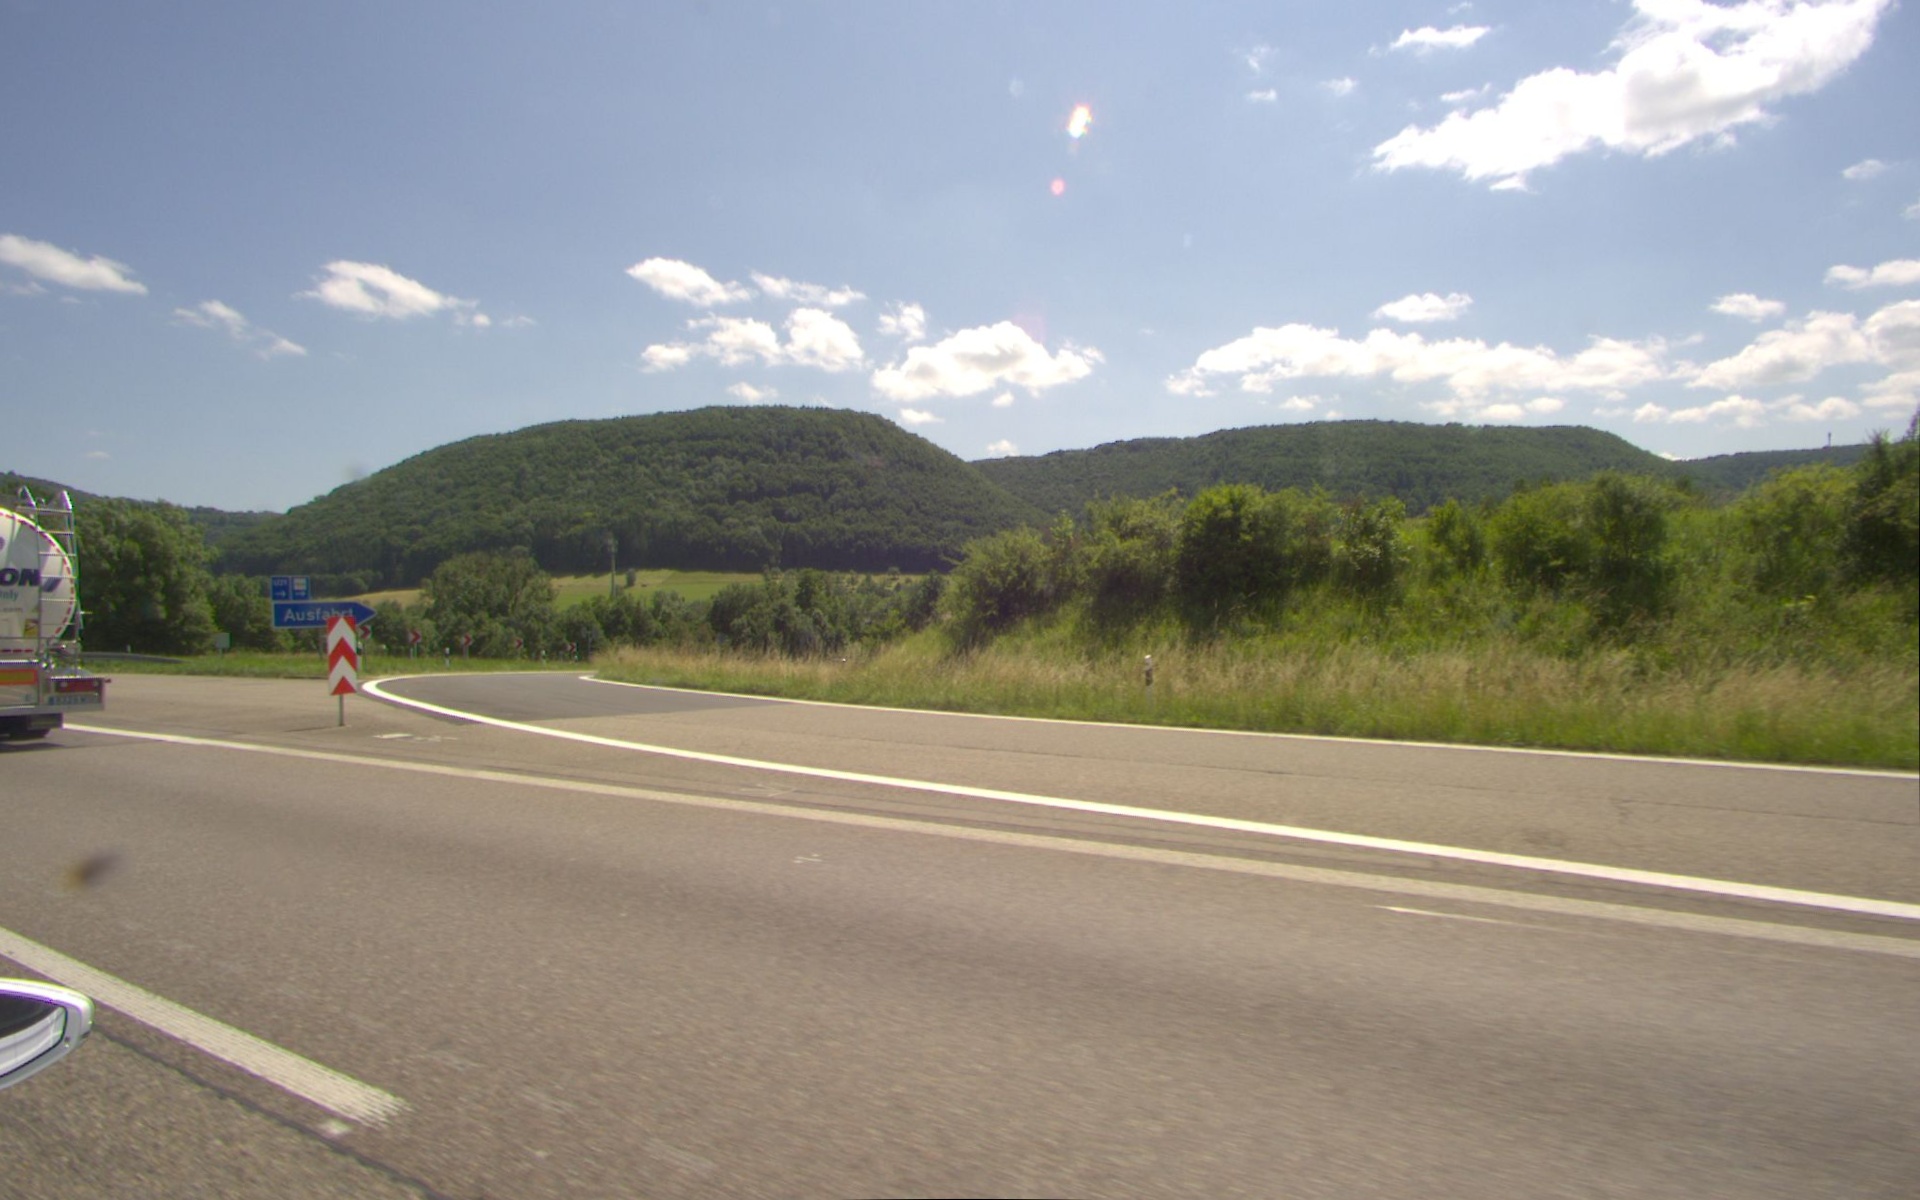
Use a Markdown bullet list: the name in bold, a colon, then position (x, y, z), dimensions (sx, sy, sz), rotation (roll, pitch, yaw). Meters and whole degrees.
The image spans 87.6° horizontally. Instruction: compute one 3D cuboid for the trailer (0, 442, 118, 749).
- **trailer**: position (-16.869, 0.045, 15.373), dimensions (11.720, 3.784, 2.533), rotation (-1, -1, 32)
